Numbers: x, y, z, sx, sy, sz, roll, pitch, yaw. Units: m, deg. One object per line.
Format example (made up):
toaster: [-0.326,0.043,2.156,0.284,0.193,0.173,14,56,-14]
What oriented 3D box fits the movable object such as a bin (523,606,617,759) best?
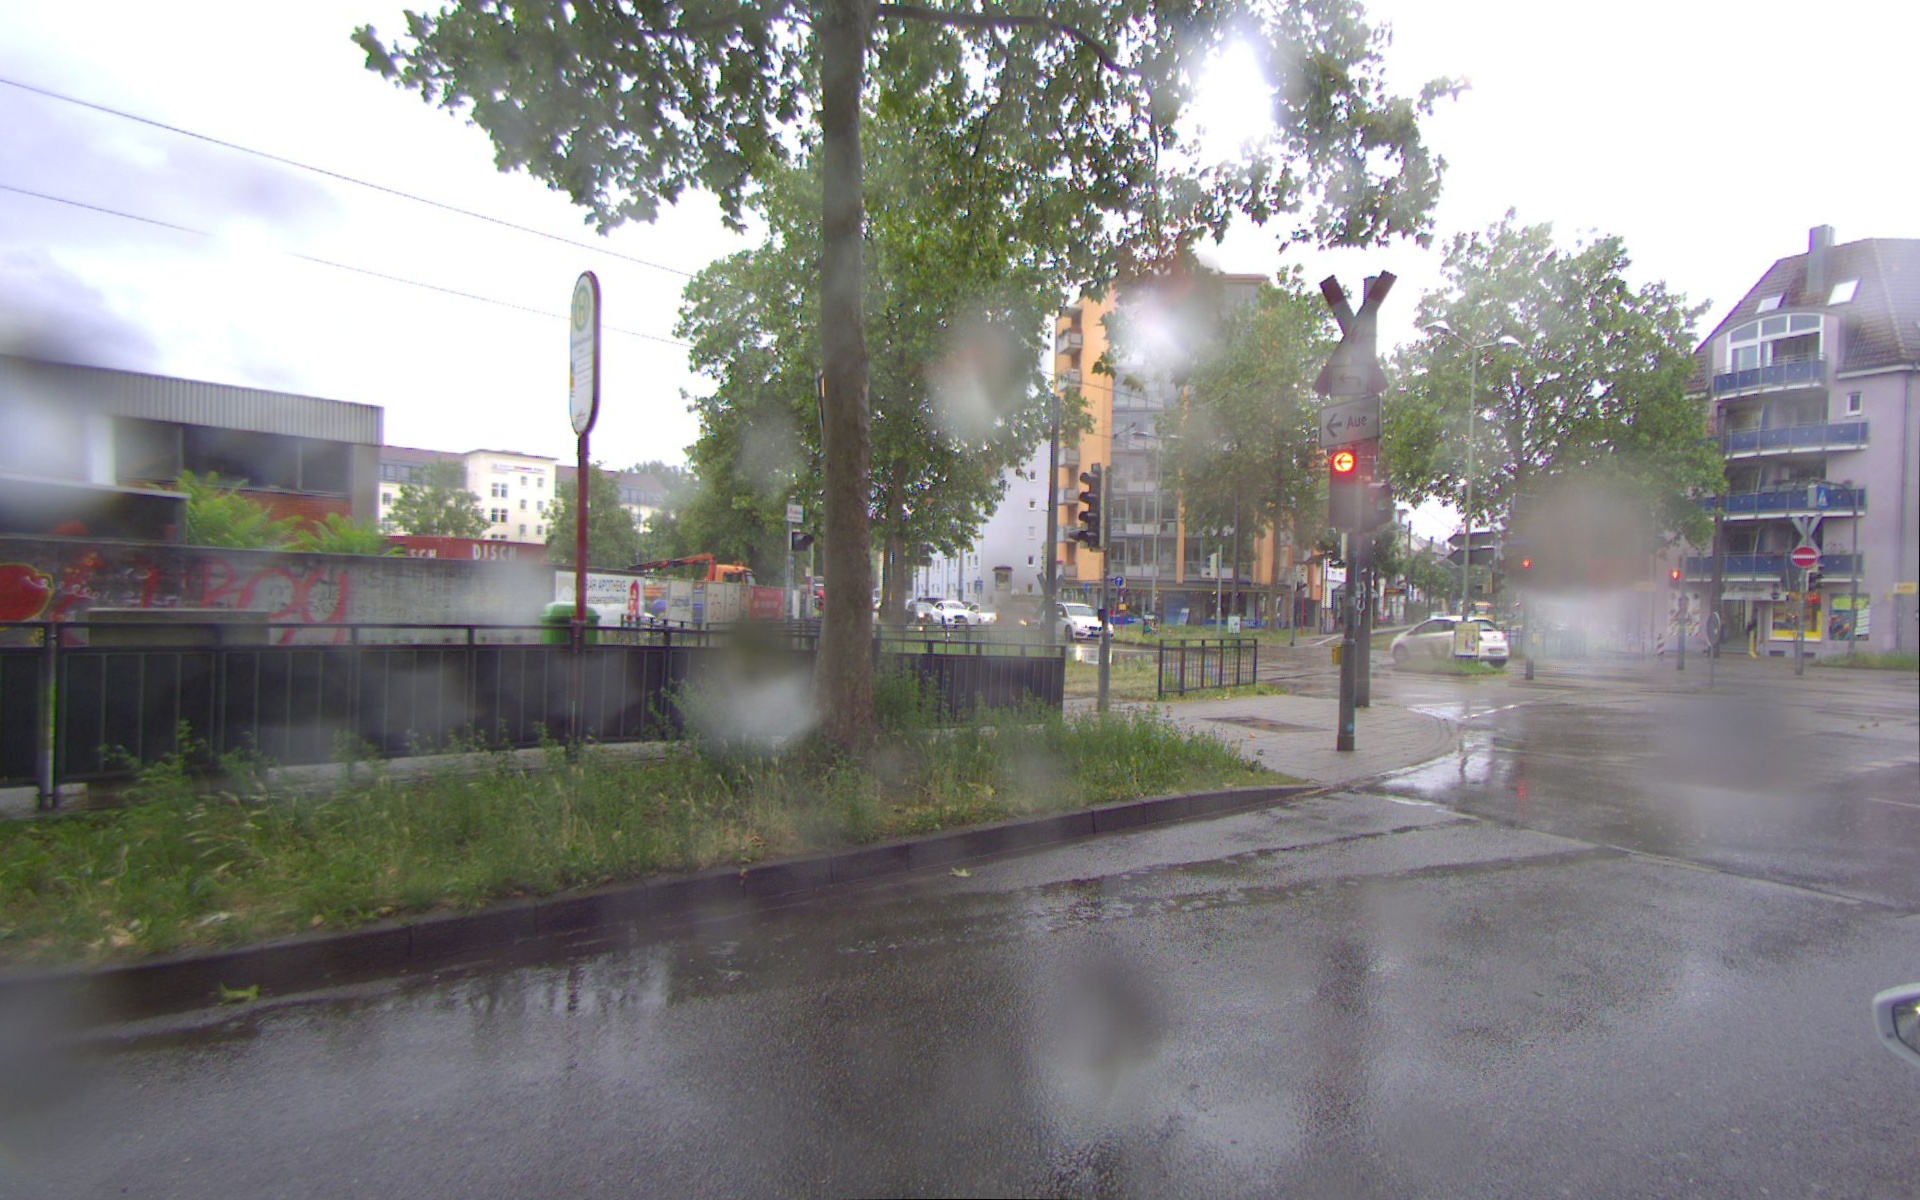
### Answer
movable object such as a bin: [-2.945,0.605,7.588,0.412,1.104,0.528,0,-1,44]

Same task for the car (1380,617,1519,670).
car: [14.848,1.278,30.647,1.700,1.505,3.633,1,-1,-23]

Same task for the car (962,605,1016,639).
car: [1.472,1.149,52.396,1.697,1.661,3.780,1,-1,-17]

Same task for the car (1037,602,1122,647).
car: [4.733,0.984,40.337,1.941,1.673,4.004,1,-1,-17]

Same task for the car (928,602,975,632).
car: [-0.546,0.984,58.397,1.697,1.661,3.780,1,-1,-17]

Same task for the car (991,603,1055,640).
car: [2.836,0.995,46.242,1.697,1.661,3.780,1,-1,-17]

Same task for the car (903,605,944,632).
car: [-2.356,1.173,64.423,1.697,1.661,3.780,1,-1,-17]
